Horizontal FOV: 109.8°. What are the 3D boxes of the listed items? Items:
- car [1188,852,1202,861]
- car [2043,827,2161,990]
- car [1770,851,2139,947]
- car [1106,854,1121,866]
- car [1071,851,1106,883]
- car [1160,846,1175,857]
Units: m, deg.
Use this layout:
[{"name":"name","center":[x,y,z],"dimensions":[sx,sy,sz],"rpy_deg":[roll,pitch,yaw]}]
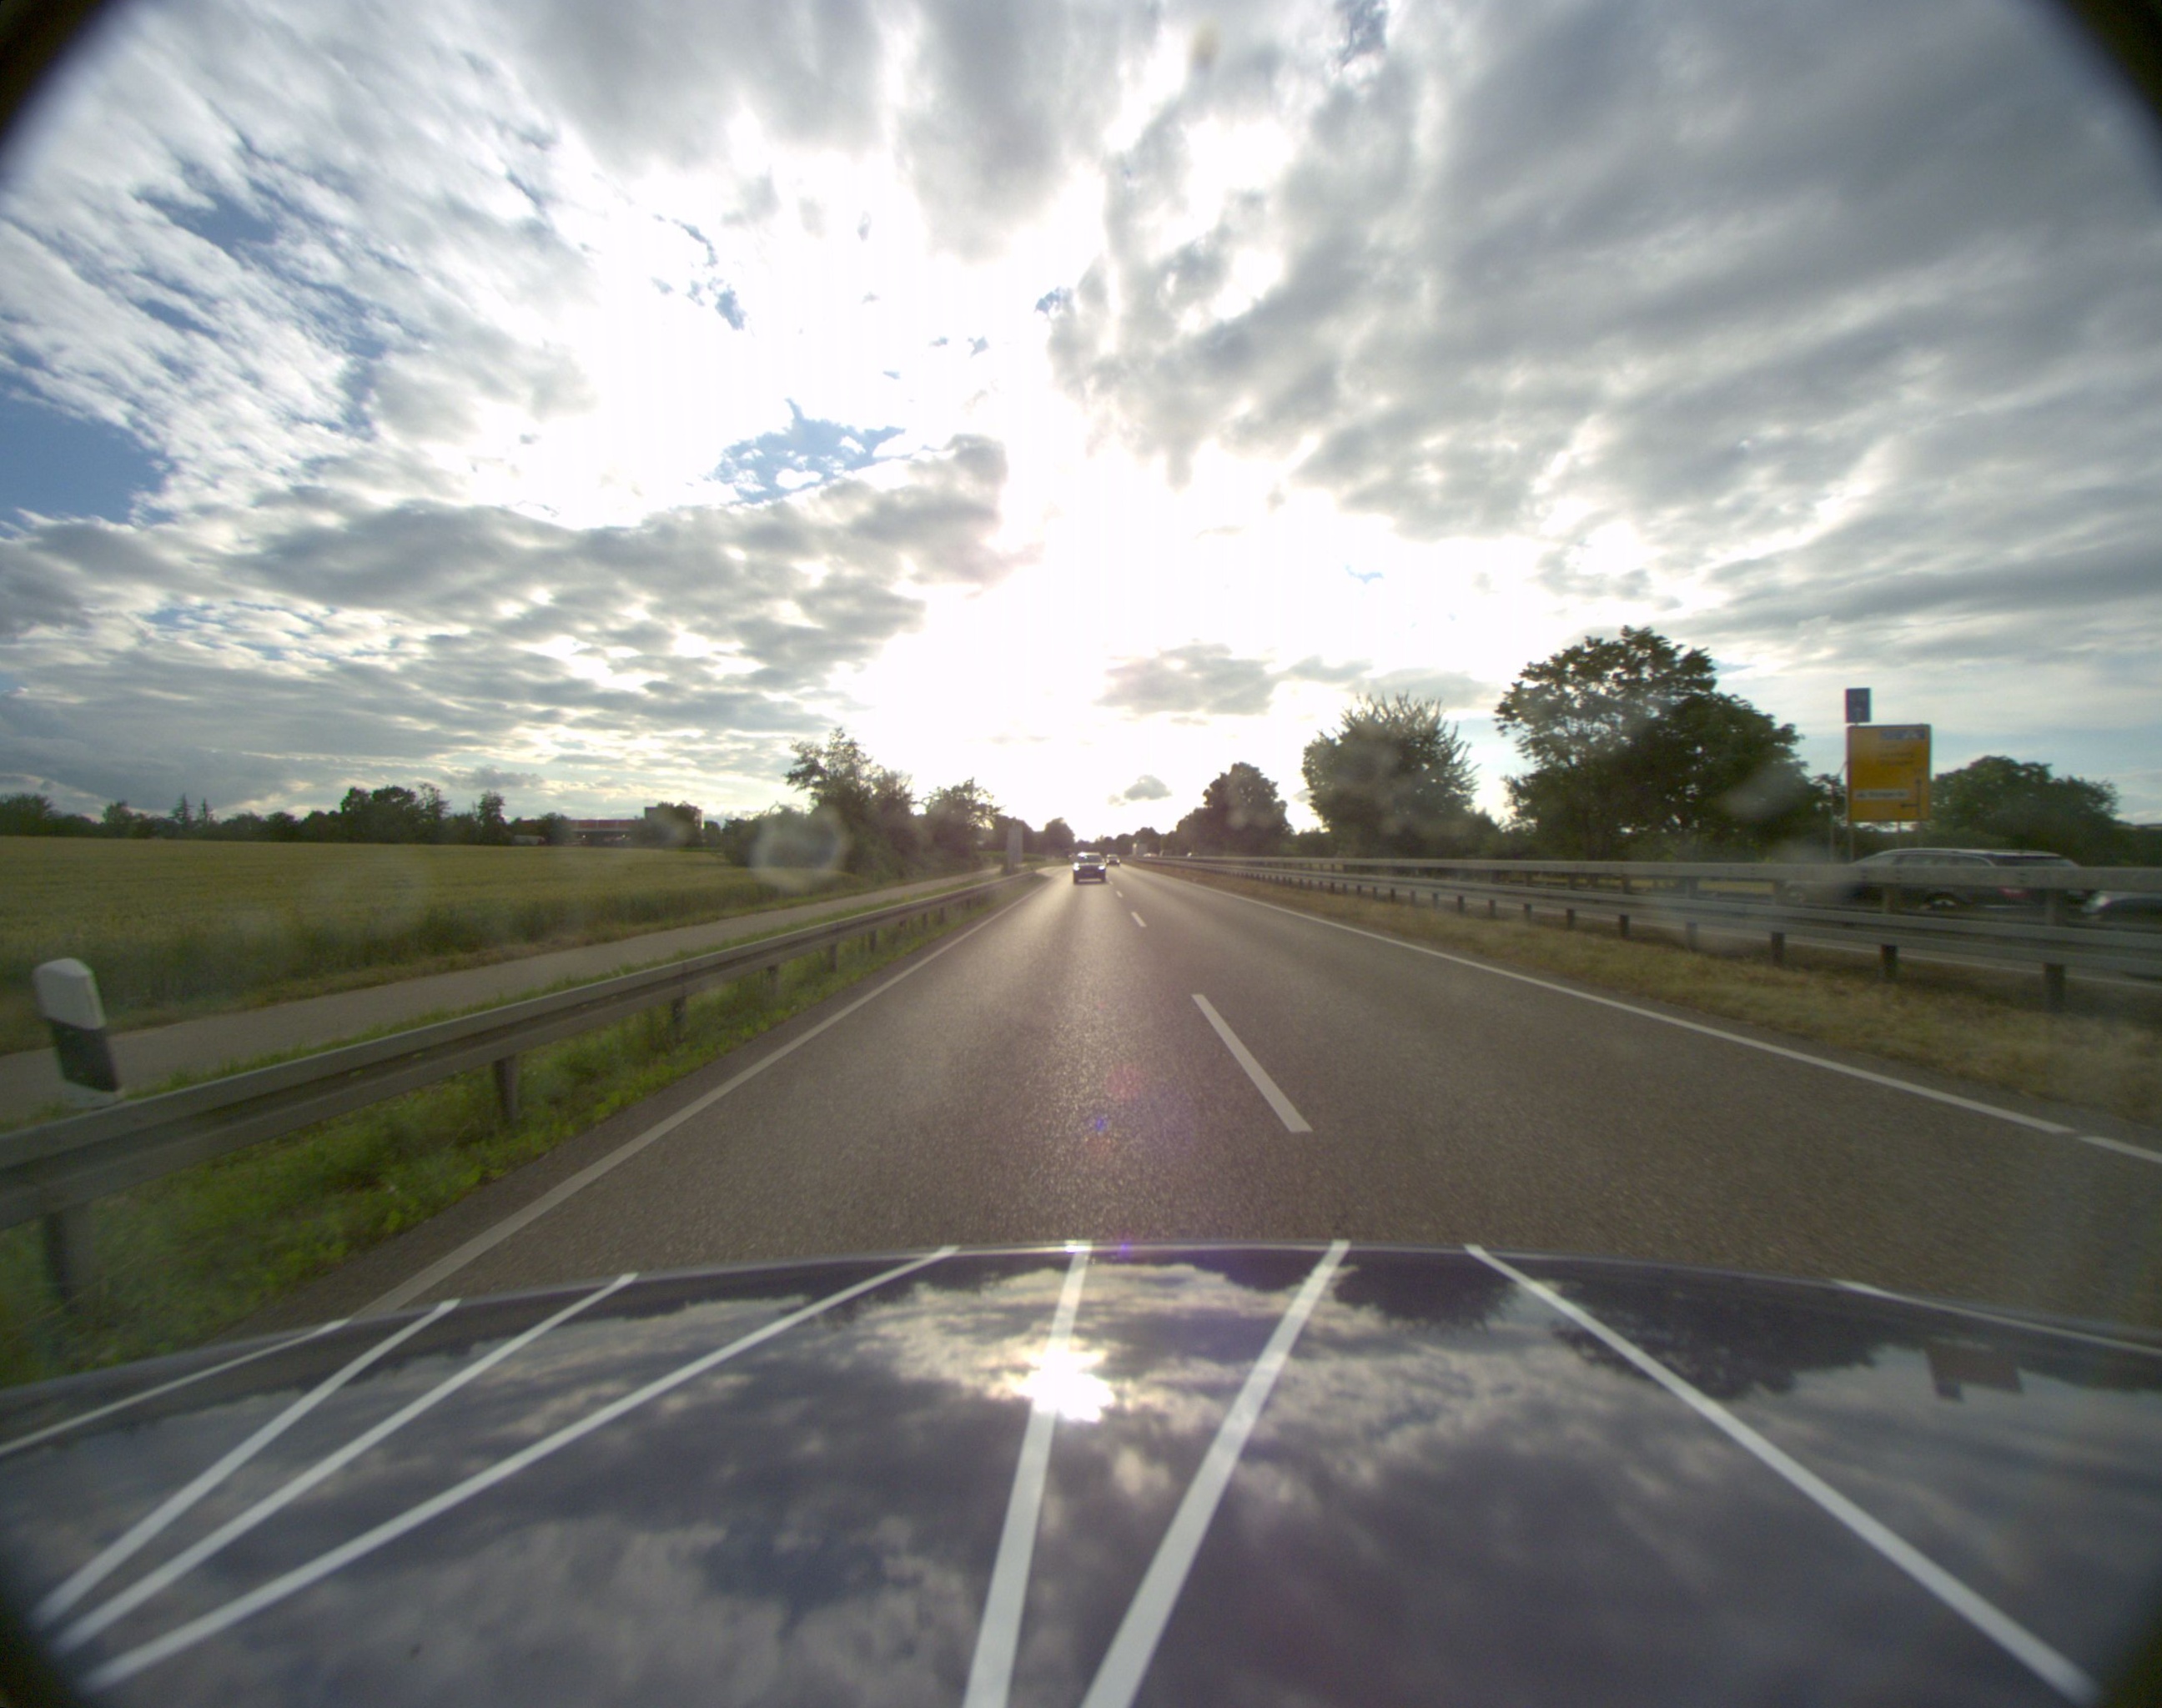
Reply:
[{"name":"car","center":[17.336,0.386,115.742],"dimensions":[1.605,1.371,3.472],"rpy_deg":[-2,1,1]},{"name":"car","center":[11.595,0.568,6.248],"dimensions":[1.802,1.605,4.376],"rpy_deg":[1,1,1]},{"name":"car","center":[16.089,0.717,14.457],"dimensions":[1.911,1.470,4.461],"rpy_deg":[-2,0,1]},{"name":"car","center":[4.110,0.760,96.141],"dimensions":[1.775,1.389,4.000],"rpy_deg":[-2,1,1]},{"name":"car","center":[0.447,0.708,43.467],"dimensions":[1.863,1.636,4.000],"rpy_deg":[-2,1,1]},{"name":"car","center":[13.941,-0.410,122.275],"dimensions":[1.937,1.626,4.376],"rpy_deg":[-1,1,1]}]
